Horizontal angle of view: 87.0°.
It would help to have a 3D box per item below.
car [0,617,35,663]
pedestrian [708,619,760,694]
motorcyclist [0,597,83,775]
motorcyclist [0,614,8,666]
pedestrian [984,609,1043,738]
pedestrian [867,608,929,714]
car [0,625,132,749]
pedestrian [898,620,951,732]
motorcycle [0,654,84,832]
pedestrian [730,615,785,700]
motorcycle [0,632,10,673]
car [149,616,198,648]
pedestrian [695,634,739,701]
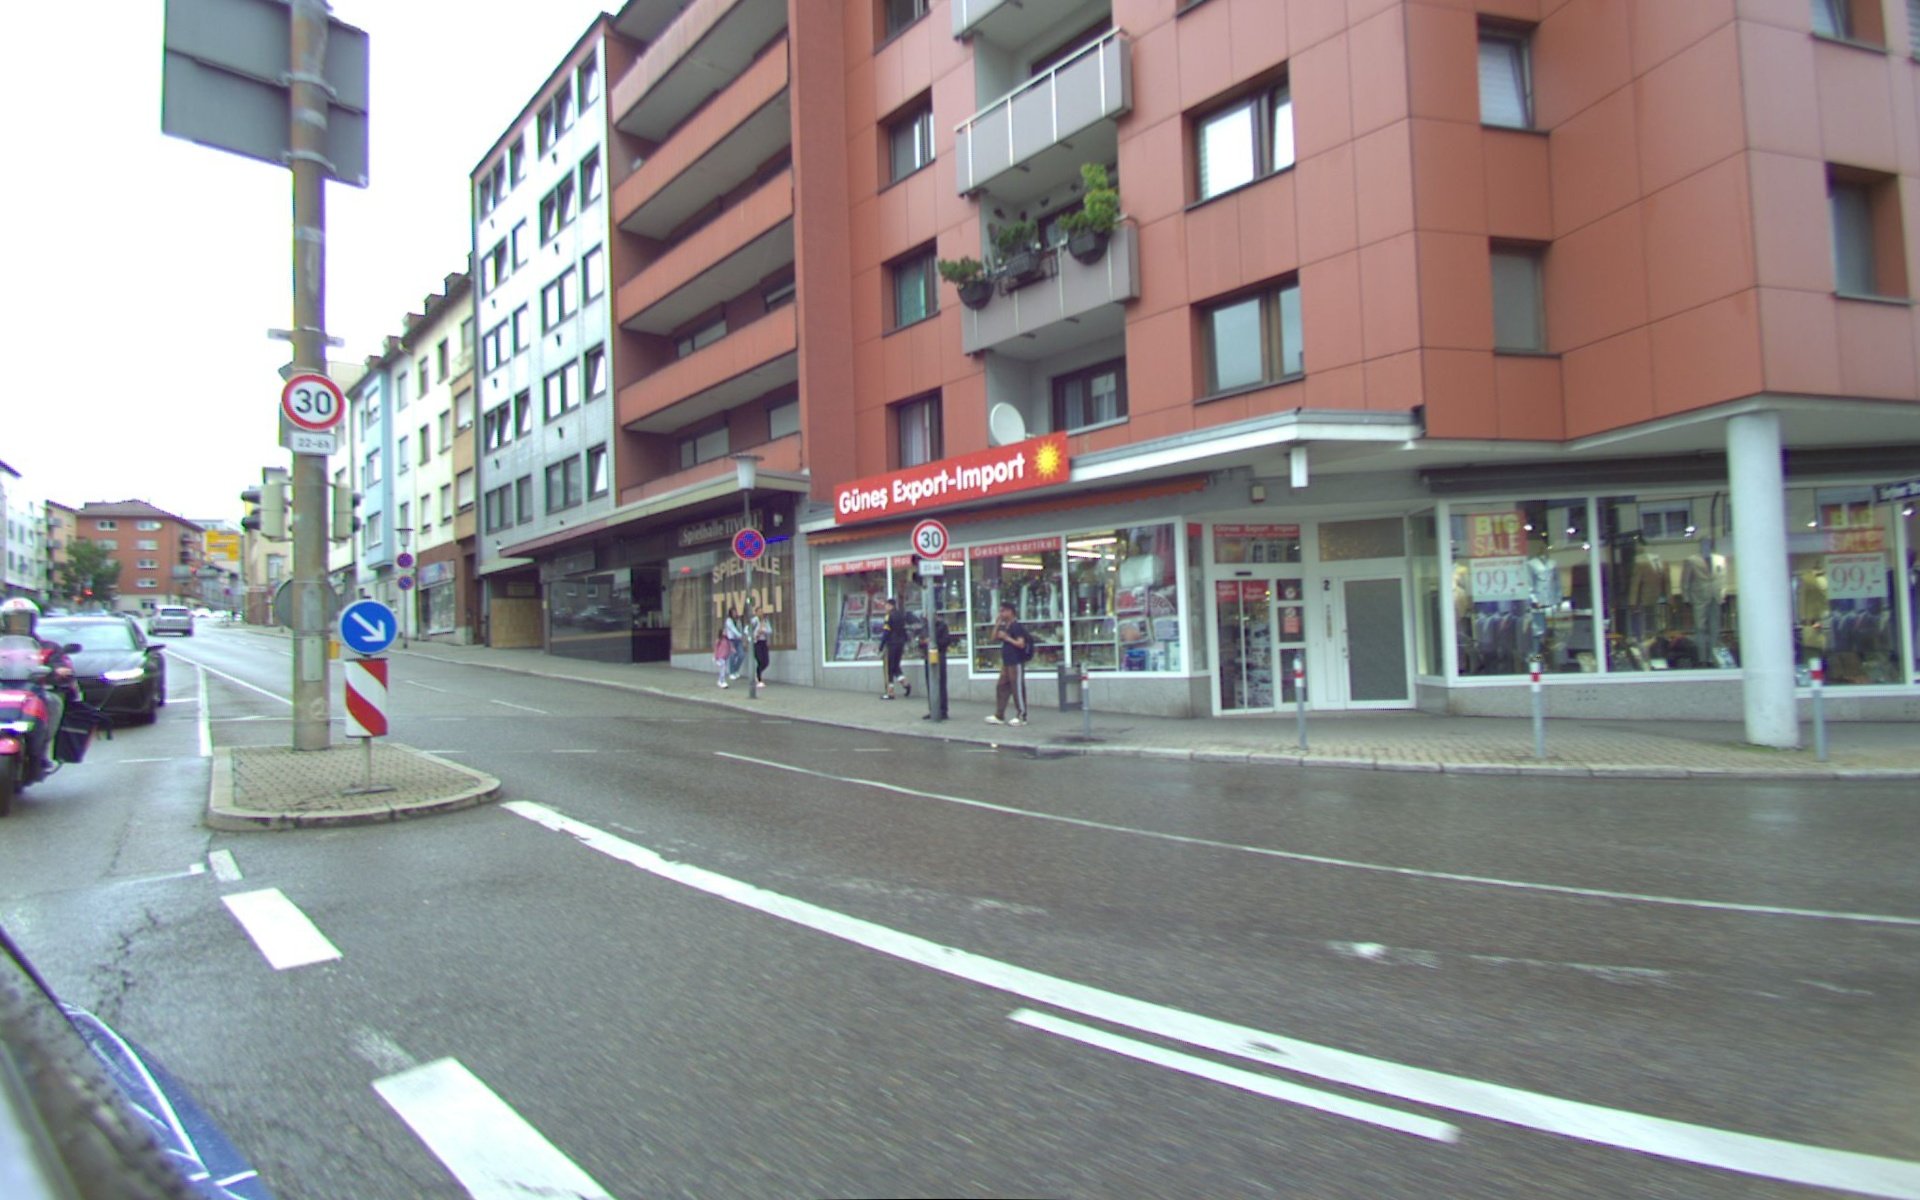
[{"bbox_3d":[-41.164,1.715,43.662,1.821,1.918,3.769,0,-1,-42],"label":"car"},{"bbox_3d":[-5.002,1.235,22.386,0.723,1.572,0.819,-2,0,40],"label":"pedestrian"},{"bbox_3d":[-7.807,0.678,8.197,0.995,1.391,0.836,2,-3,-40],"label":"motorcyclist"},{"bbox_3d":[-30.026,1.250,31.241,0.963,1.601,0.835,-2,1,43],"label":"motorcyclist"},{"bbox_3d":[0.785,1.069,15.030,0.712,1.845,0.831,0,-1,-7],"label":"pedestrian"},{"bbox_3d":[-1.123,1.090,18.461,0.842,1.862,0.754,-1,-2,35],"label":"pedestrian"},{"bbox_3d":[-12.968,1.141,14.480,1.680,1.471,4.326,-2,0,-39],"label":"car"},{"bbox_3d":[-0.560,1.179,16.003,0.548,1.710,0.624,1,-2,-45],"label":"pedestrian"},{"bbox_3d":[-7.927,1.094,8.310,0.995,1.235,2.698,2,-3,-39],"label":"motorcycle"},{"bbox_3d":[-4.247,1.181,21.220,0.723,1.702,0.819,-2,0,40],"label":"pedestrian"},{"bbox_3d":[-30.058,1.628,31.290,2.373,1.235,0.835,-2,1,44],"label":"motorcycle"},{"bbox_3d":[-42.297,1.707,54.426,1.714,1.605,4.181,4,-3,-42],"label":"car"},{"bbox_3d":[-5.058,1.390,21.031,0.723,1.333,0.528,-2,0,40],"label":"pedestrian"}]
